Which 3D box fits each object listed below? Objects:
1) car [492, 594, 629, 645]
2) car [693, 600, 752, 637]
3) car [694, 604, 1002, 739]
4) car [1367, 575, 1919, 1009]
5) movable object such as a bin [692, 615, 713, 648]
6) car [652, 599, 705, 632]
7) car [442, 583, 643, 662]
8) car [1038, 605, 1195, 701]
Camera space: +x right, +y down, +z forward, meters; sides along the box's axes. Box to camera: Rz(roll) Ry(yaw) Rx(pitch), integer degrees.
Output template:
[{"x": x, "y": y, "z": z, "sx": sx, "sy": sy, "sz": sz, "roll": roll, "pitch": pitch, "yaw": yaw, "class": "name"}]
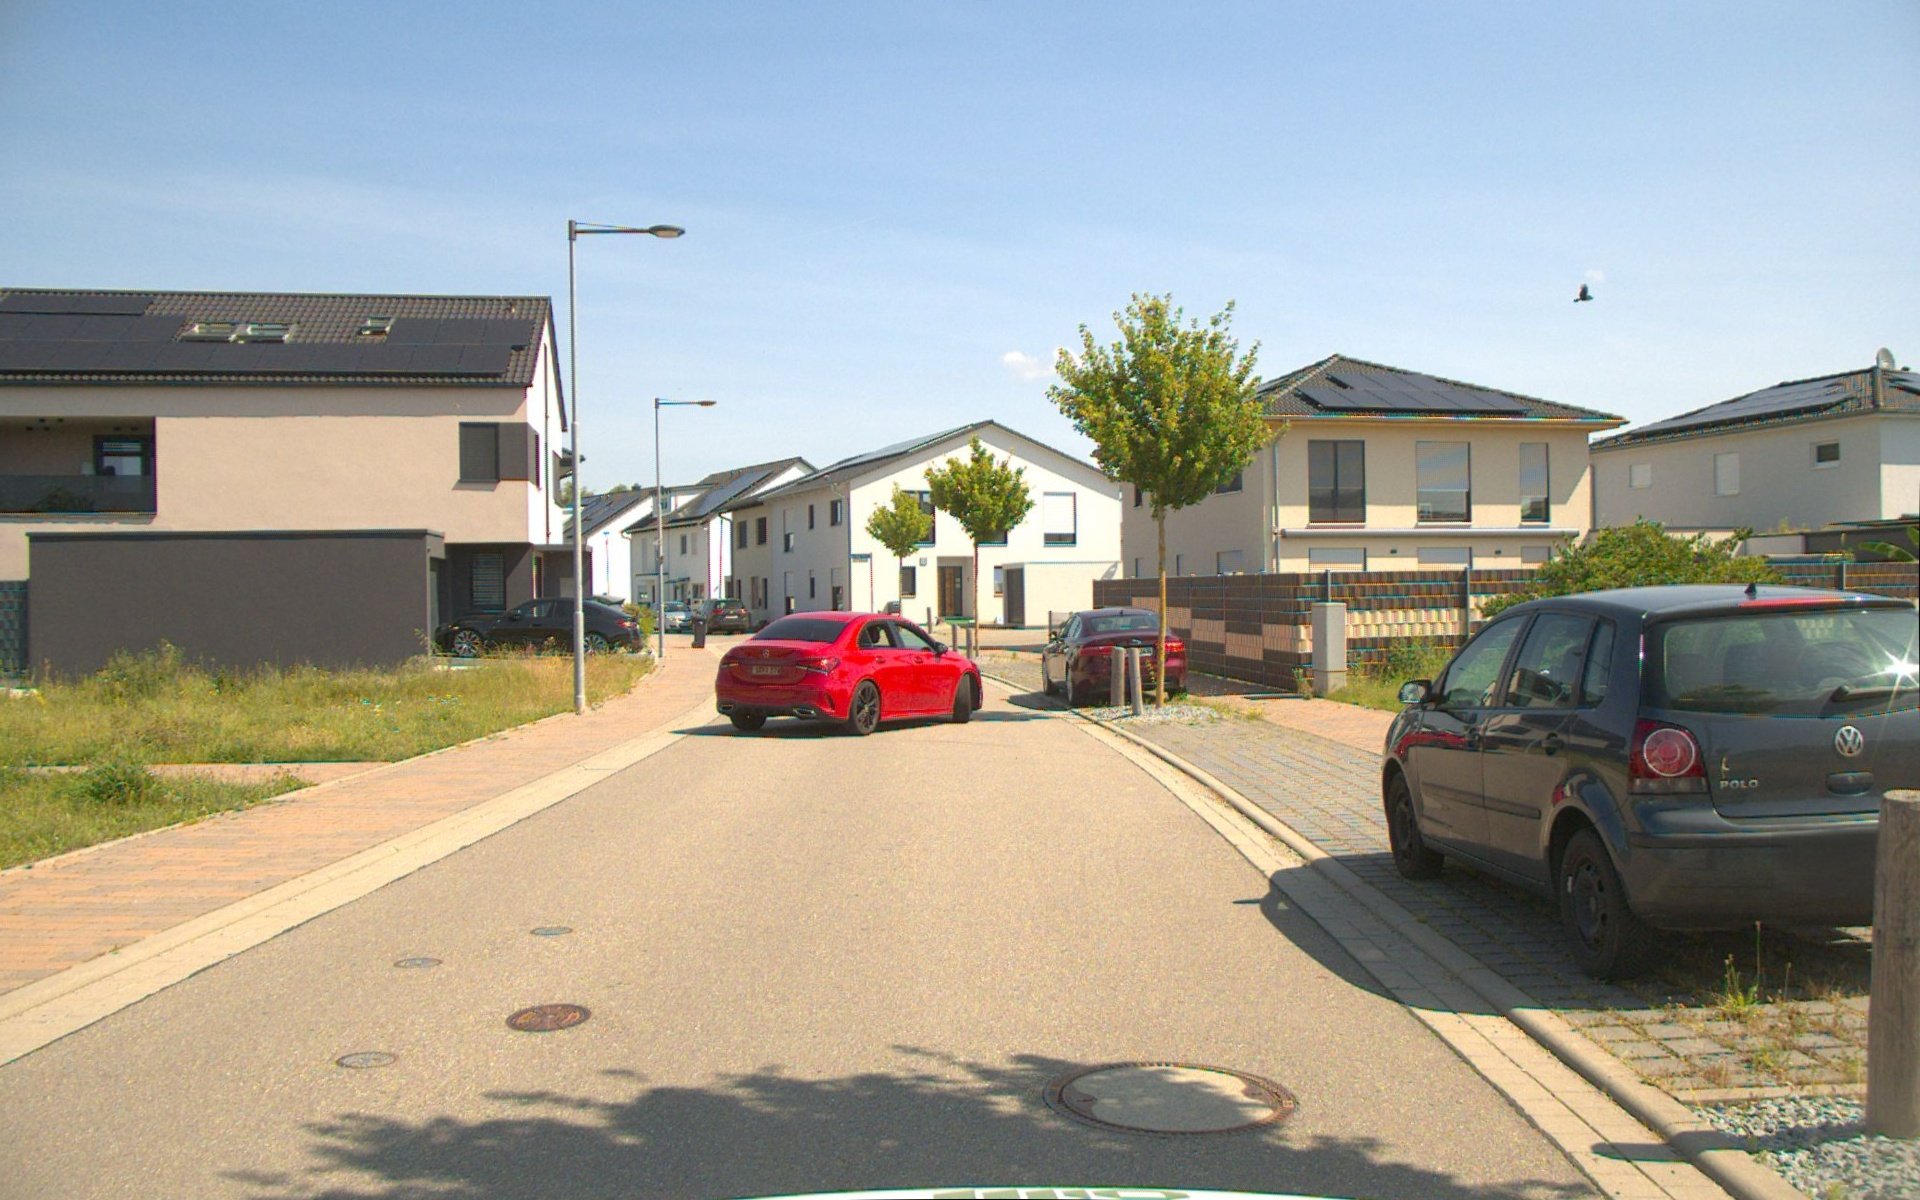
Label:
[{"x": -12.293, "y": 0.600, "z": 51.084, "sx": 3.910, "sy": 1.512, "sz": 1.752, "roll": 0, "pitch": 0, "yaw": -7, "class": "car"}, {"x": -9.856, "y": 0.764, "z": 68.466, "sx": 1.701, "sy": 1.447, "sz": 3.977, "roll": -2, "pitch": 0, "yaw": -19, "class": "car"}, {"x": -1.243, "y": 0.793, "z": 20.550, "sx": 1.729, "sy": 1.463, "sz": 4.513, "roll": 0, "pitch": 0, "yaw": 28, "class": "car"}, {"x": 3.129, "y": 0.666, "z": 7.580, "sx": 1.566, "sy": 1.501, "sz": 3.674, "roll": 0, "pitch": 0, "yaw": -1, "class": "car"}, {"x": -7.629, "y": 0.933, "z": 48.968, "sx": 0.523, "sy": 0.952, "sz": 0.526, "roll": 1, "pitch": 0, "yaw": 1, "class": "movable object such as a bin"}, {"x": -13.266, "y": 0.723, "z": 77.832, "sx": 1.654, "sy": 1.489, "sz": 3.918, "roll": -2, "pitch": 0, "yaw": -22, "class": "car"}, {"x": -9.625, "y": 0.519, "z": 38.375, "sx": 4.294, "sy": 1.660, "sz": 1.767, "roll": 2, "pitch": -1, "yaw": -8, "class": "car"}, {"x": 2.413, "y": 0.795, "z": 26.604, "sx": 1.720, "sy": 1.387, "sz": 4.571, "roll": 0, "pitch": 0, "yaw": -5, "class": "car"}]
